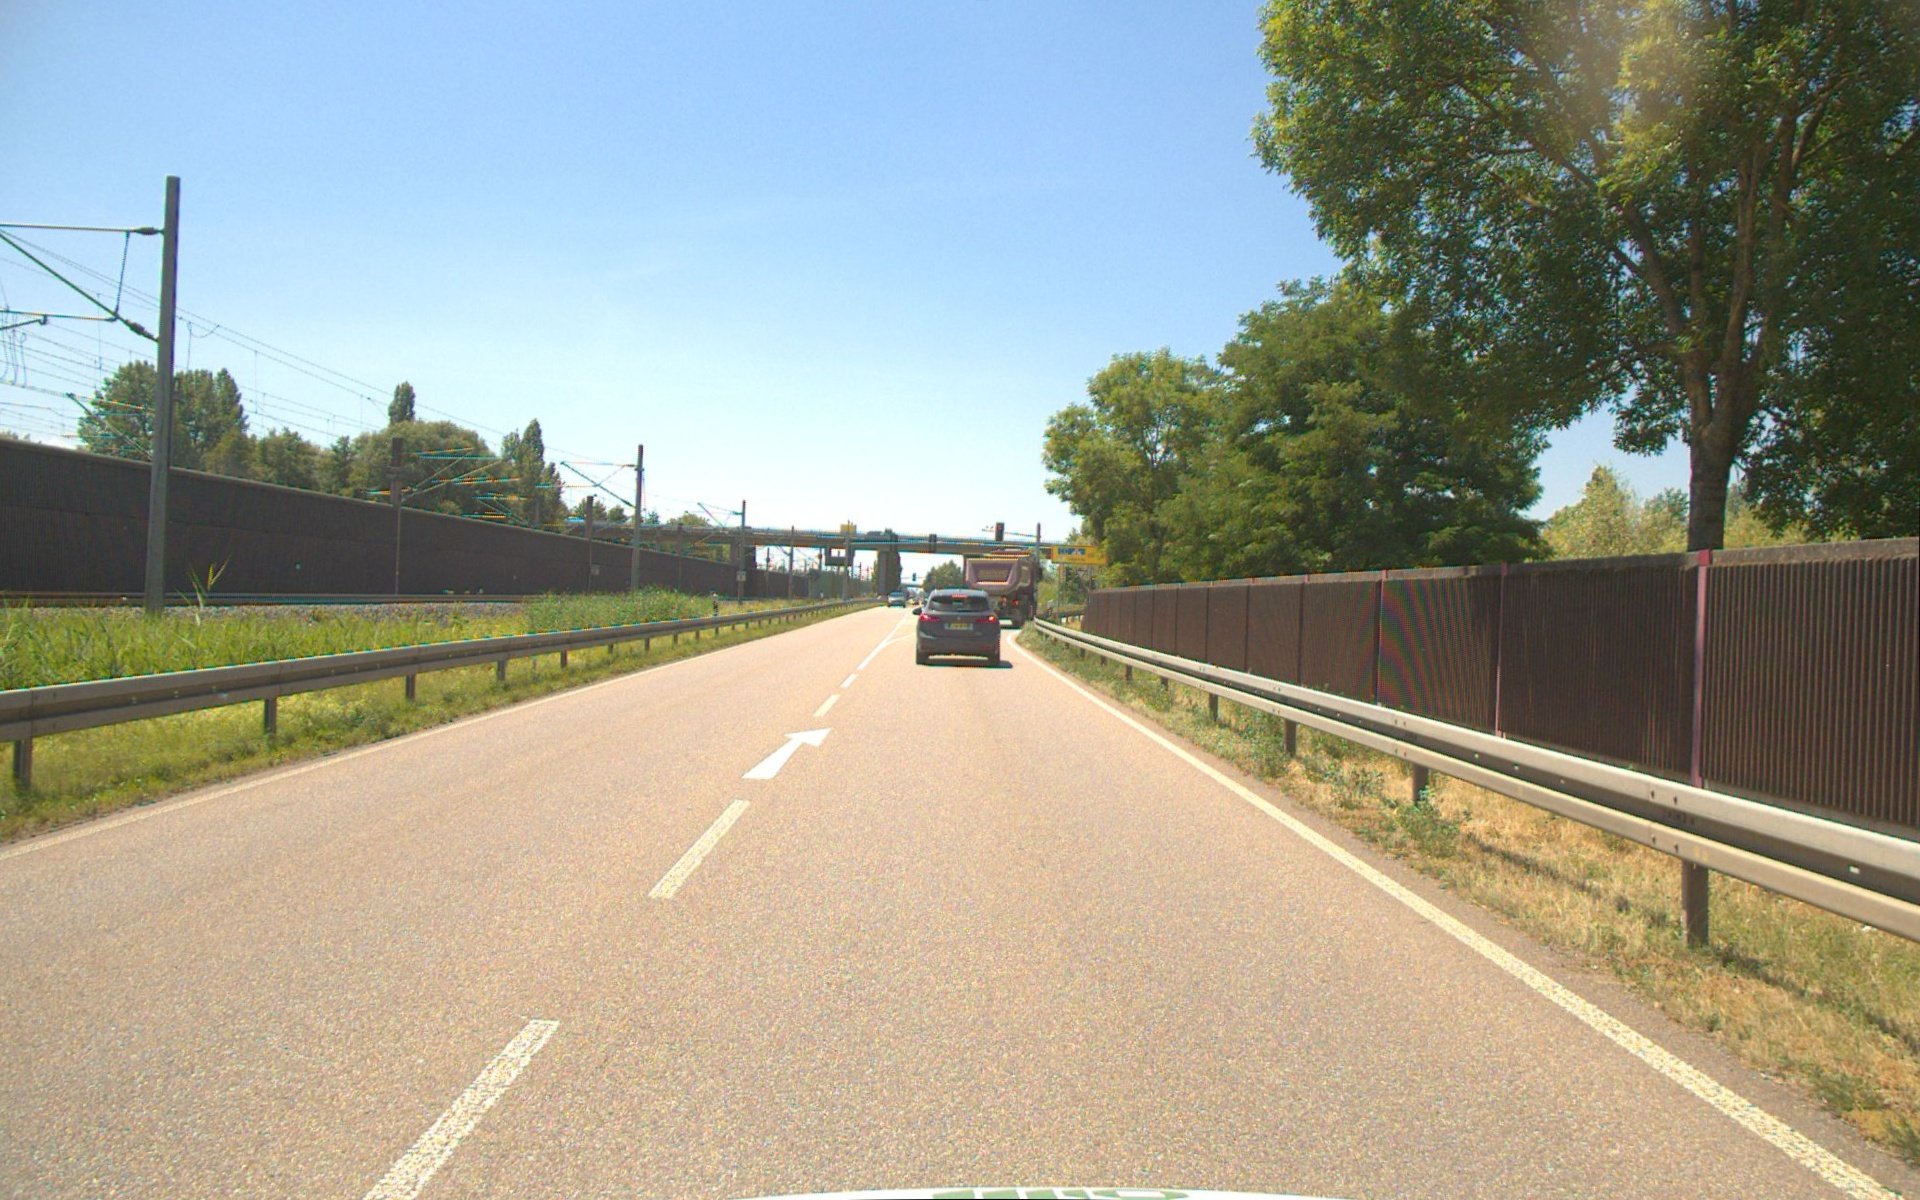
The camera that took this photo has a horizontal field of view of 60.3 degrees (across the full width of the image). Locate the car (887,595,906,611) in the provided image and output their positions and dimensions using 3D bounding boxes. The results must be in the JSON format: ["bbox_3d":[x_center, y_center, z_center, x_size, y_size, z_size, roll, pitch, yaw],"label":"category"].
[{"bbox_3d":[-6.229,0.291,161.915,1.827,1.511,4.884,1,0,-3],"label":"car"}]

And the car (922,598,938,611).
[{"bbox_3d":[-4.158,0.614,230.092,1.887,1.798,4.599,2,1,2],"label":"car"}]

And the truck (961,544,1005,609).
[{"bbox_3d":[1.431,-1.445,103.871,2.536,3.803,9.575,1,0,1],"label":"truck"}]

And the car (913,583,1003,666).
[{"bbox_3d":[-0.074,0.498,35.984,1.807,1.651,4.225,1,0,-1],"label":"car"}]

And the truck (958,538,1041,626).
[{"bbox_3d":[2.034,-0.786,79.611,2.773,3.888,11.894,1,0,7],"label":"truck"}]
